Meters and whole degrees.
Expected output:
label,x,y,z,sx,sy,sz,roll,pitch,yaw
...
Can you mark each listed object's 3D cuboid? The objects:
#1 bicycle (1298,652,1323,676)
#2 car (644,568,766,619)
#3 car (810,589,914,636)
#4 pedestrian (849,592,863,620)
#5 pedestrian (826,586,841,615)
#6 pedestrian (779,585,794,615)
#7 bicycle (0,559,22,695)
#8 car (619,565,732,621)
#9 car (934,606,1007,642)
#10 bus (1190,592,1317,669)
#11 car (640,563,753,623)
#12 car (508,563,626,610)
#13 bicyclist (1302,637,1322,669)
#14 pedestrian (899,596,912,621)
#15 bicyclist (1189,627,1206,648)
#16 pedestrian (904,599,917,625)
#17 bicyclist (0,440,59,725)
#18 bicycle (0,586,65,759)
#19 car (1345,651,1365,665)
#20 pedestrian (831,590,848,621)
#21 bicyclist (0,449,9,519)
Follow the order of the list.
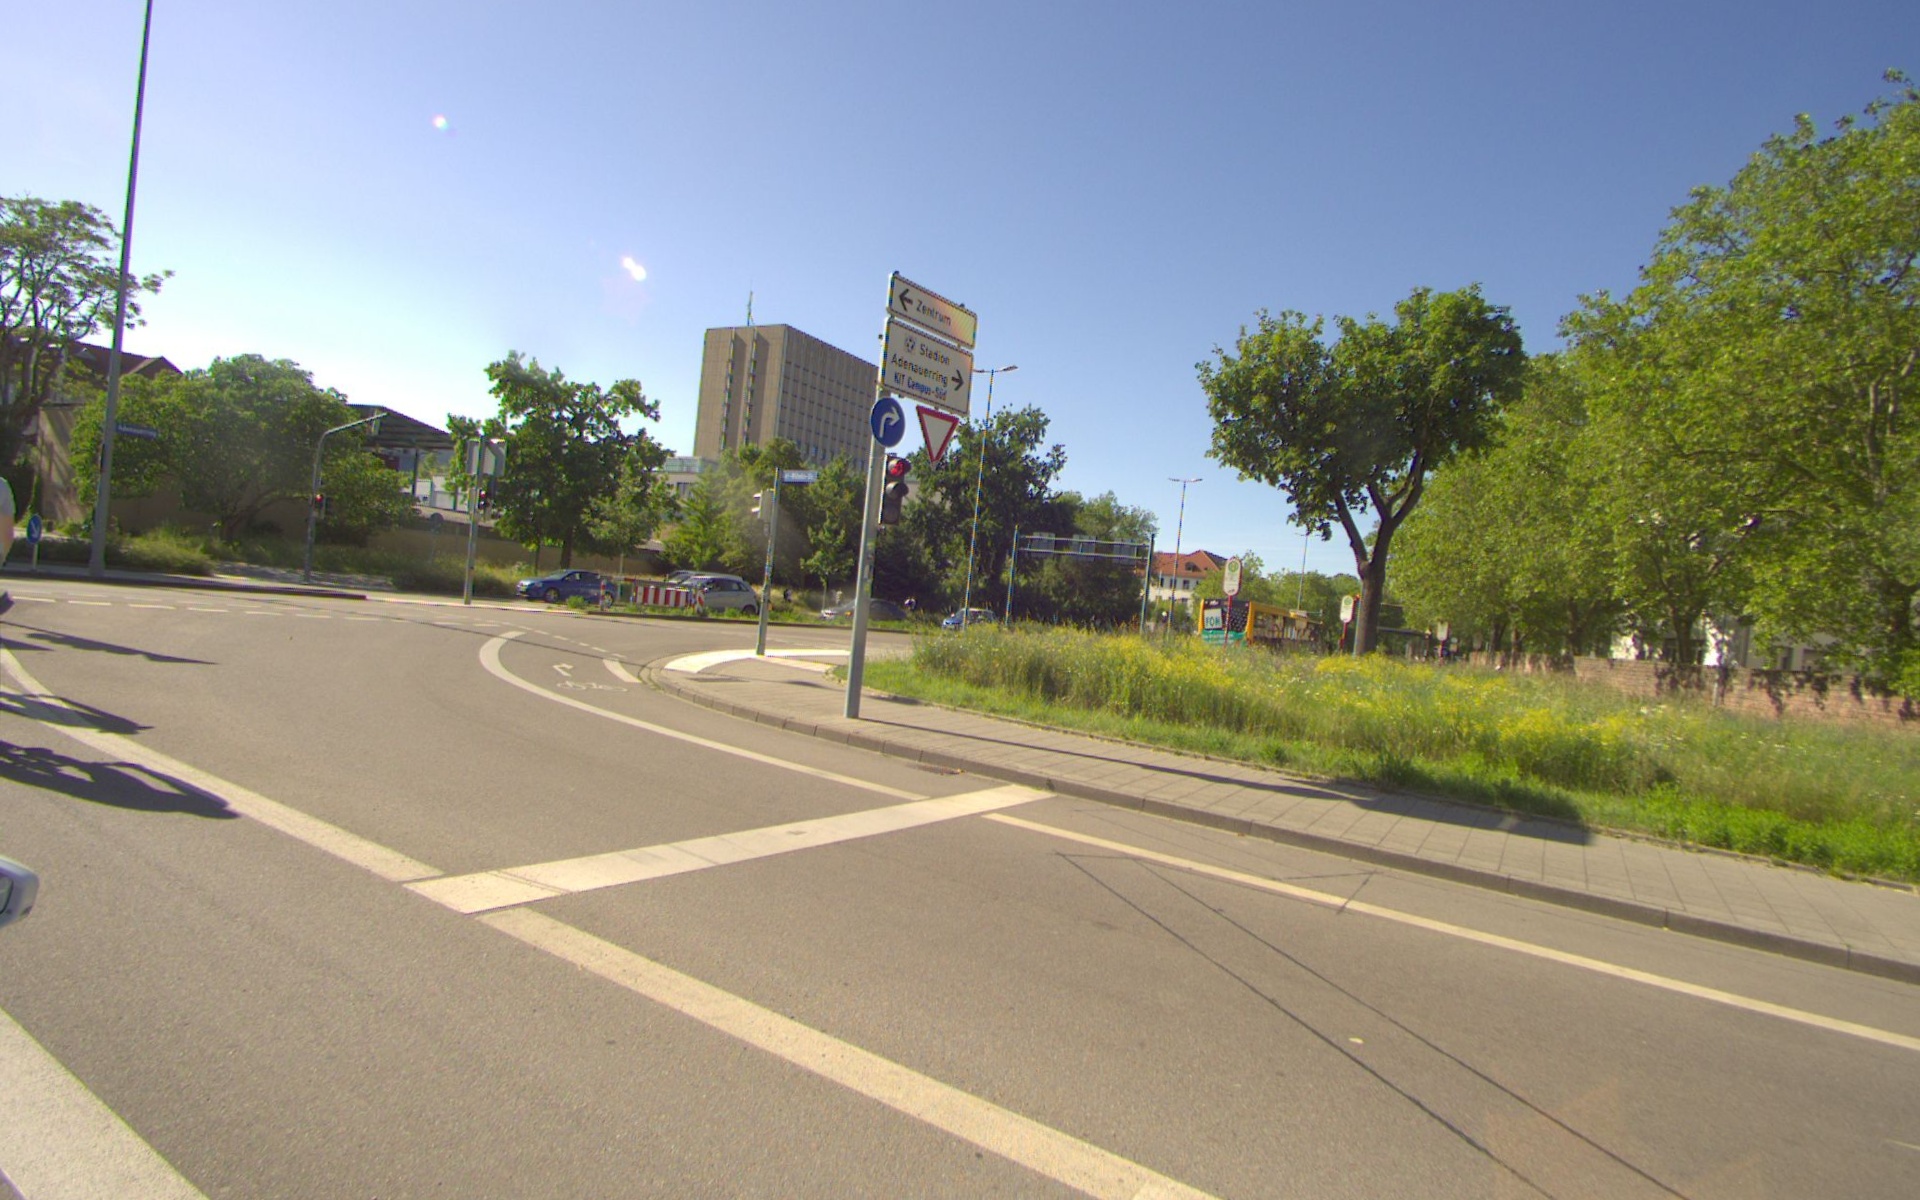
label,x,y,z,sx,sy,sz,roll,pitch,yaw
bicycle,15.868,2.914,45.527,0.509,1.007,2.056,7,0,32
car,-9.425,-0.212,37.431,1.840,1.426,4.046,6,0,38
car,-4.302,0.581,44.711,1.968,1.604,4.736,6,0,33
pedestrian,-6.910,0.415,66.668,0.519,1.801,0.561,7,1,35
pedestrian,-8.309,0.029,66.082,0.519,1.800,0.561,7,1,37
pedestrian,-10.690,0.000,61.925,0.519,1.801,0.561,7,1,35
bicycle,-8.198,0.090,7.776,1.935,1.014,0.661,6,-1,26
car,-11.799,-0.275,41.902,1.972,1.837,3.982,7,0,40
car,0.577,1.250,51.462,1.758,1.448,3.989,6,0,34
bus,14.352,1.591,48.484,2.752,2.662,10.095,6,-2,34
car,-12.305,-0.273,47.332,1.968,2.131,4.885,6,-2,34
car,-16.086,-0.514,41.341,1.717,1.453,4.162,7,0,38
bicyclist,15.925,2.382,45.489,0.509,1.368,1.002,7,1,32
pedestrian,-3.915,0.628,71.973,0.519,1.716,0.561,7,1,35
bicyclist,20.100,3.169,85.198,0.778,1.649,1.315,7,1,37
pedestrian,-3.536,0.871,71.427,0.519,1.801,0.561,7,1,35
bicyclist,-6.221,-0.158,6.092,1.000,1.688,0.752,6,-1,33
bicycle,-6.288,0.345,6.092,1.946,0.906,0.741,6,-2,33
car,48.541,7.149,123.581,1.812,1.405,4.066,4,-2,27
pedestrian,-7.696,0.355,64.161,0.702,1.872,0.561,7,1,35
bicyclist,-8.132,-0.372,7.781,1.048,1.759,0.647,7,-1,26
